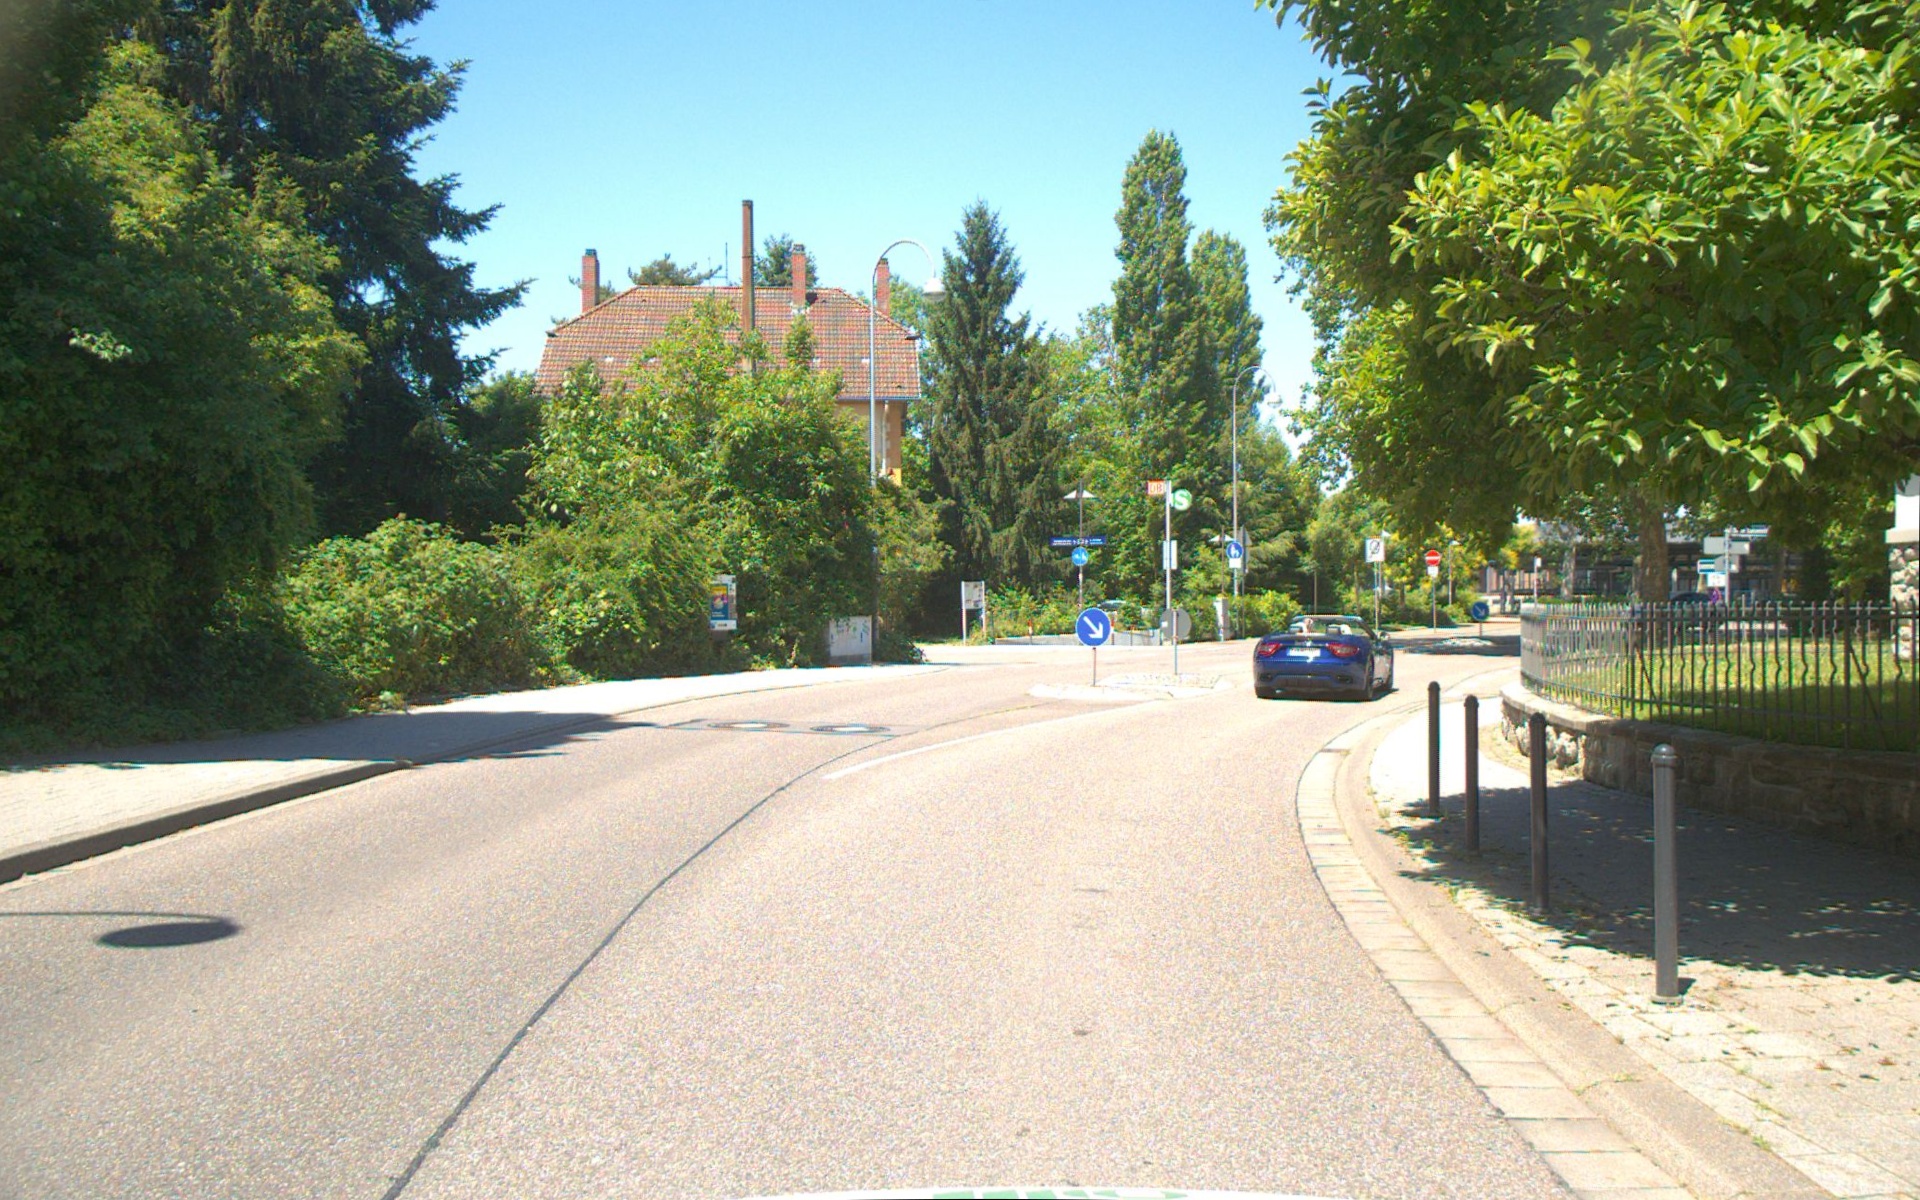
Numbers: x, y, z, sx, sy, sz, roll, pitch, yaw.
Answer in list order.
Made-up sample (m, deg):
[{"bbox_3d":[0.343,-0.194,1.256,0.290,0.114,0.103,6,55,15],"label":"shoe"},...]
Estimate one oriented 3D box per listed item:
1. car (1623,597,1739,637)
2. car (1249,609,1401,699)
[{"bbox_3d":[29.329,0.664,67.309,4.396,1.604,1.814,0,0,-22],"label":"car"},{"bbox_3d":[6.276,0.846,28.034,1.789,1.360,4.700,0,0,22],"label":"car"}]
